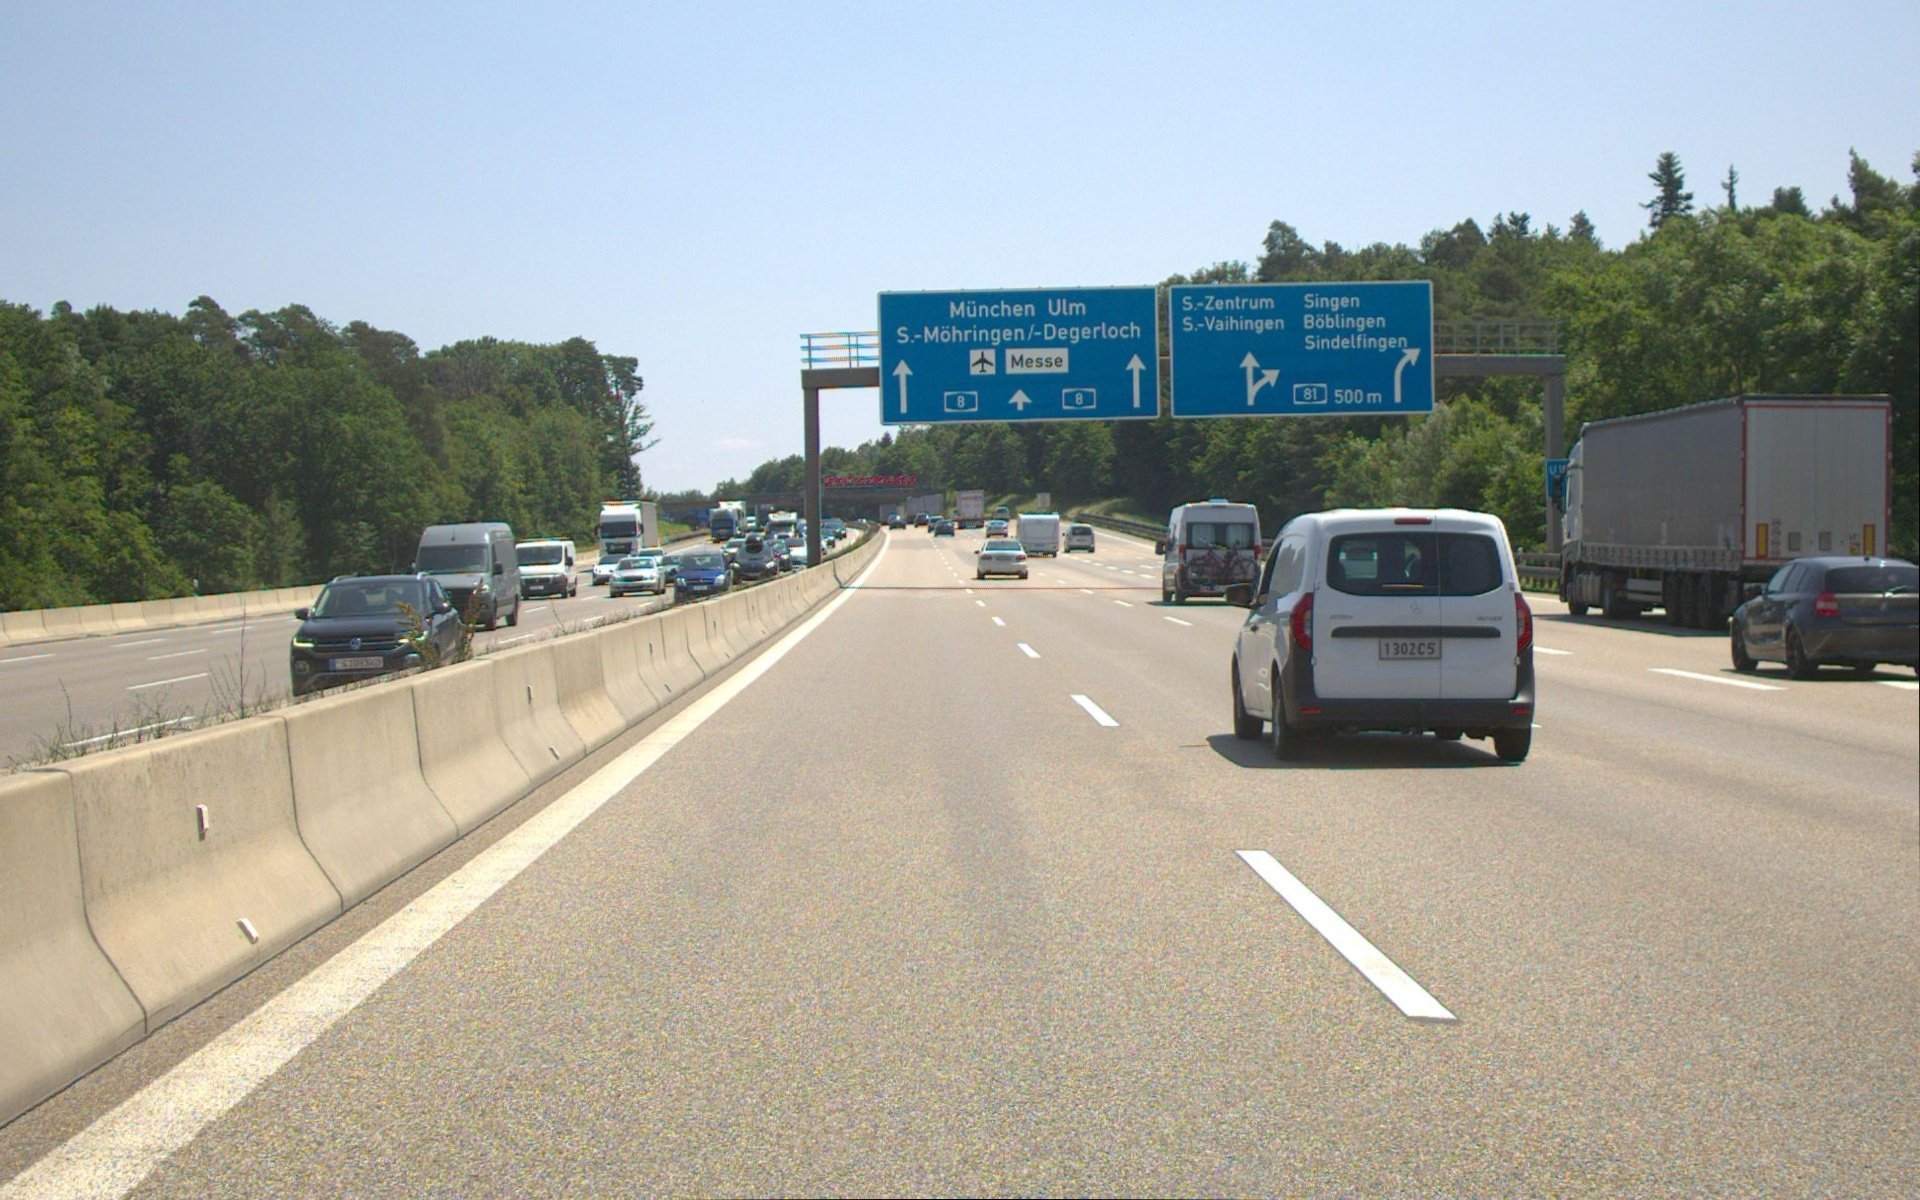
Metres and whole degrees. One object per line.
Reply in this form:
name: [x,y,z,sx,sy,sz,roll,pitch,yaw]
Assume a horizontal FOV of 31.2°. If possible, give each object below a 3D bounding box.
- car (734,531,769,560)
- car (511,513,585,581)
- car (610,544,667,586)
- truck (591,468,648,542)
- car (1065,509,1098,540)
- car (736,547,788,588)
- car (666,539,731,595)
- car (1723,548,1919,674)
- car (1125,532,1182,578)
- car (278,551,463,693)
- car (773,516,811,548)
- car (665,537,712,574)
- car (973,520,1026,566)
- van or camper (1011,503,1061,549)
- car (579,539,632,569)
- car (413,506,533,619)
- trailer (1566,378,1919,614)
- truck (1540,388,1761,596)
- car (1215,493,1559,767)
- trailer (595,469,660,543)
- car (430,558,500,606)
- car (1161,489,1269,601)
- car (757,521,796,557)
car: [-12.426,-3.242,205.168,1.818,1.584,4.883,-3,1,-1]
car: [-15.539,-1.979,130.041,1.930,2.405,6.626,-3,0,-1]
car: [-11.852,-1.312,126.809,1.678,1.439,4.526,-3,1,-1]
truck: [-20.508,-5.706,207.482,2.760,4.205,6.378,-2,0,-1]
car: [7.677,-4.794,217.896,1.820,1.853,4.000,-1,1,-1]
car: [-8.286,-1.380,144.060,1.870,1.600,5.228,-2,1,0]
car: [-8.074,-1.027,106.352,1.705,1.656,3.760,-1,1,-1]
car: [10.289,0.091,40.332,1.670,1.269,4.290,-1,2,-1]
car: [7.199,-1.685,128.406,1.818,1.634,4.000,-2,1,0]
car: [-7.333,0.232,43.056,1.614,1.656,3.849,-2,1,0]
car: [-9.114,-3.683,186.619,1.812,1.667,4.476,-2,1,0]
car: [-11.536,-1.902,146.333,1.678,1.439,3.994,-3,1,-1]
car: [1.457,-2.116,128.453,1.843,1.623,4.553,-2,0,-1]
van or camper: [4.399,-4.285,199.803,2.645,2.530,6.502,-2,1,-1]
car: [-16.421,-2.144,159.440,1.993,1.302,4.845,-2,1,0]
car: [-11.910,-0.975,84.494,1.930,2.598,7.231,-2,1,-1]
trailer: [14.371,-1.912,64.372,3.287,3.917,13.892,0,1,-1]
truck: [14.186,-2.216,71.131,3.254,4.092,5.988,0,1,-1]
car: [3.095,0.181,25.848,1.859,1.819,4.612,-2,1,-1]
trailer: [-20.618,-5.751,213.722,2.754,4.231,13.720,-2,0,-1]
car: [-15.901,-0.586,110.554,1.678,1.439,4.022,-2,1,-1]
car: [6.329,-1.383,85.871,2.143,2.643,5.710,-2,1,-1]
car: [-8.803,-2.926,165.254,1.754,1.667,4.204,-2,1,-2]
